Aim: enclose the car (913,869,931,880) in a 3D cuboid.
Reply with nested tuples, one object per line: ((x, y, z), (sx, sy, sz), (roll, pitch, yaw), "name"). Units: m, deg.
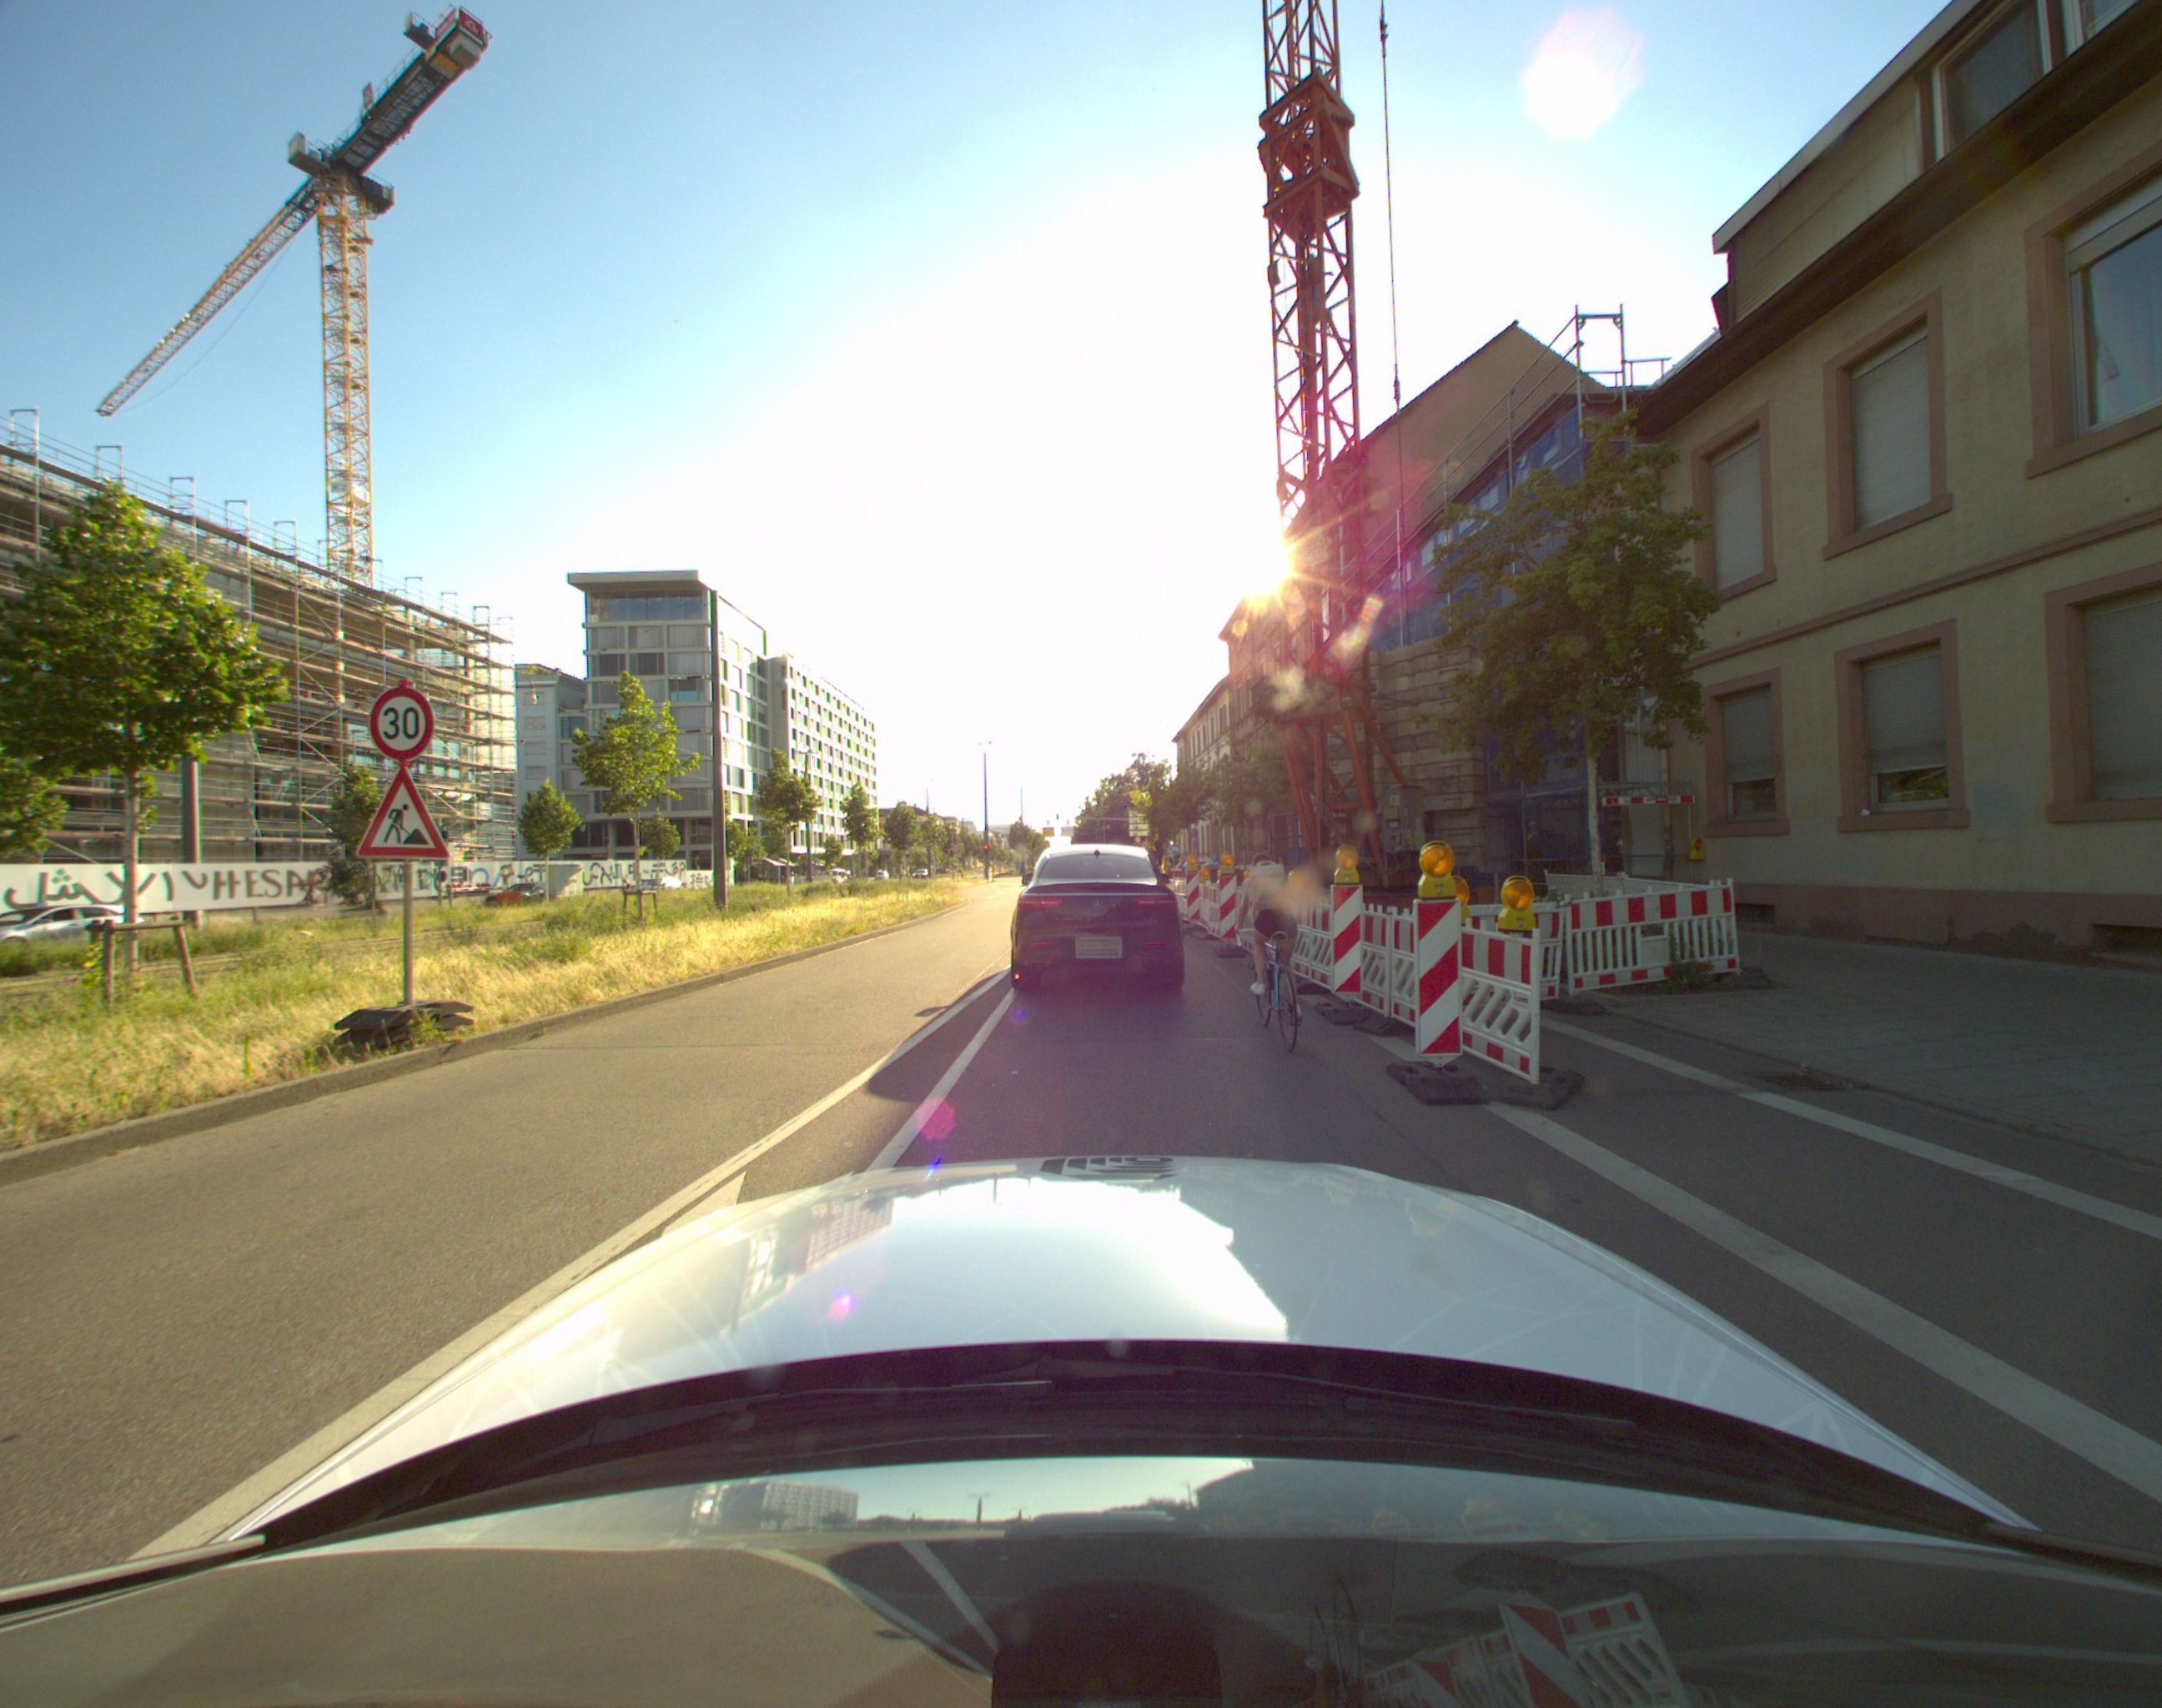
((-22.135, 2.871, 113.343), (1.703, 1.442, 3.581), (0, -1, 0), "car")

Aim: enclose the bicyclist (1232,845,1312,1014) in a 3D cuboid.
((1.635, 0.627, 7.038), (0.521, 1.395, 0.614), (0, -1, -1), "bicyclist")

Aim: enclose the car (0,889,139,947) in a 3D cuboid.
((-29.820, 1.790, 23.231), (1.703, 1.442, 3.581), (0, -1, 0), "car")

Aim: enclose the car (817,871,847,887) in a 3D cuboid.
((-26.356, 2.628, 86.306), (1.781, 1.684, 3.643), (-1, -1, 5), "car")

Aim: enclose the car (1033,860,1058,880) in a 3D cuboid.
((-2.643, 1.187, 61.092), (1.703, 1.442, 3.582), (-1, 0, 0), "car")

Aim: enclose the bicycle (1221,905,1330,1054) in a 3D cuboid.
((1.647, 1.023, 7.131), (0.511, 1.052, 1.724), (0, -1, -1), "bicycle")

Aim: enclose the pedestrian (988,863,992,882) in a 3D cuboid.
((-8.152, 1.661, 72.961), (0.333, 1.763, 0.418), (0, -1, -1), "pedestrian")

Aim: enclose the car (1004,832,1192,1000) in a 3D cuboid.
((0.251, 0.689, 10.673), (1.986, 1.772, 4.002), (0, -1, 2), "car")

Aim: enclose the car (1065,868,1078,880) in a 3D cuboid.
((-1.239, 2.604, 105.749), (1.703, 1.442, 3.581), (0, -1, 0), "car")

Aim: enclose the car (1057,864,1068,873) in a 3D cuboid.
((-3.071, 2.498, 137.624), (1.703, 1.442, 3.581), (0, -1, 0), "car")

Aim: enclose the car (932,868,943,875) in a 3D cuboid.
((-30.671, 3.714, 174.233), (1.703, 1.442, 3.581), (0, -1, 0), "car")

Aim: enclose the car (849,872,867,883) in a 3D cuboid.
((-31.873, 3.371, 116.483), (1.703, 1.442, 3.581), (0, -1, 0), "car")

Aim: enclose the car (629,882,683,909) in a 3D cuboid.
((-29.247, 2.834, 56.137), (1.784, 1.684, 3.639), (0, -1, 1), "car")
